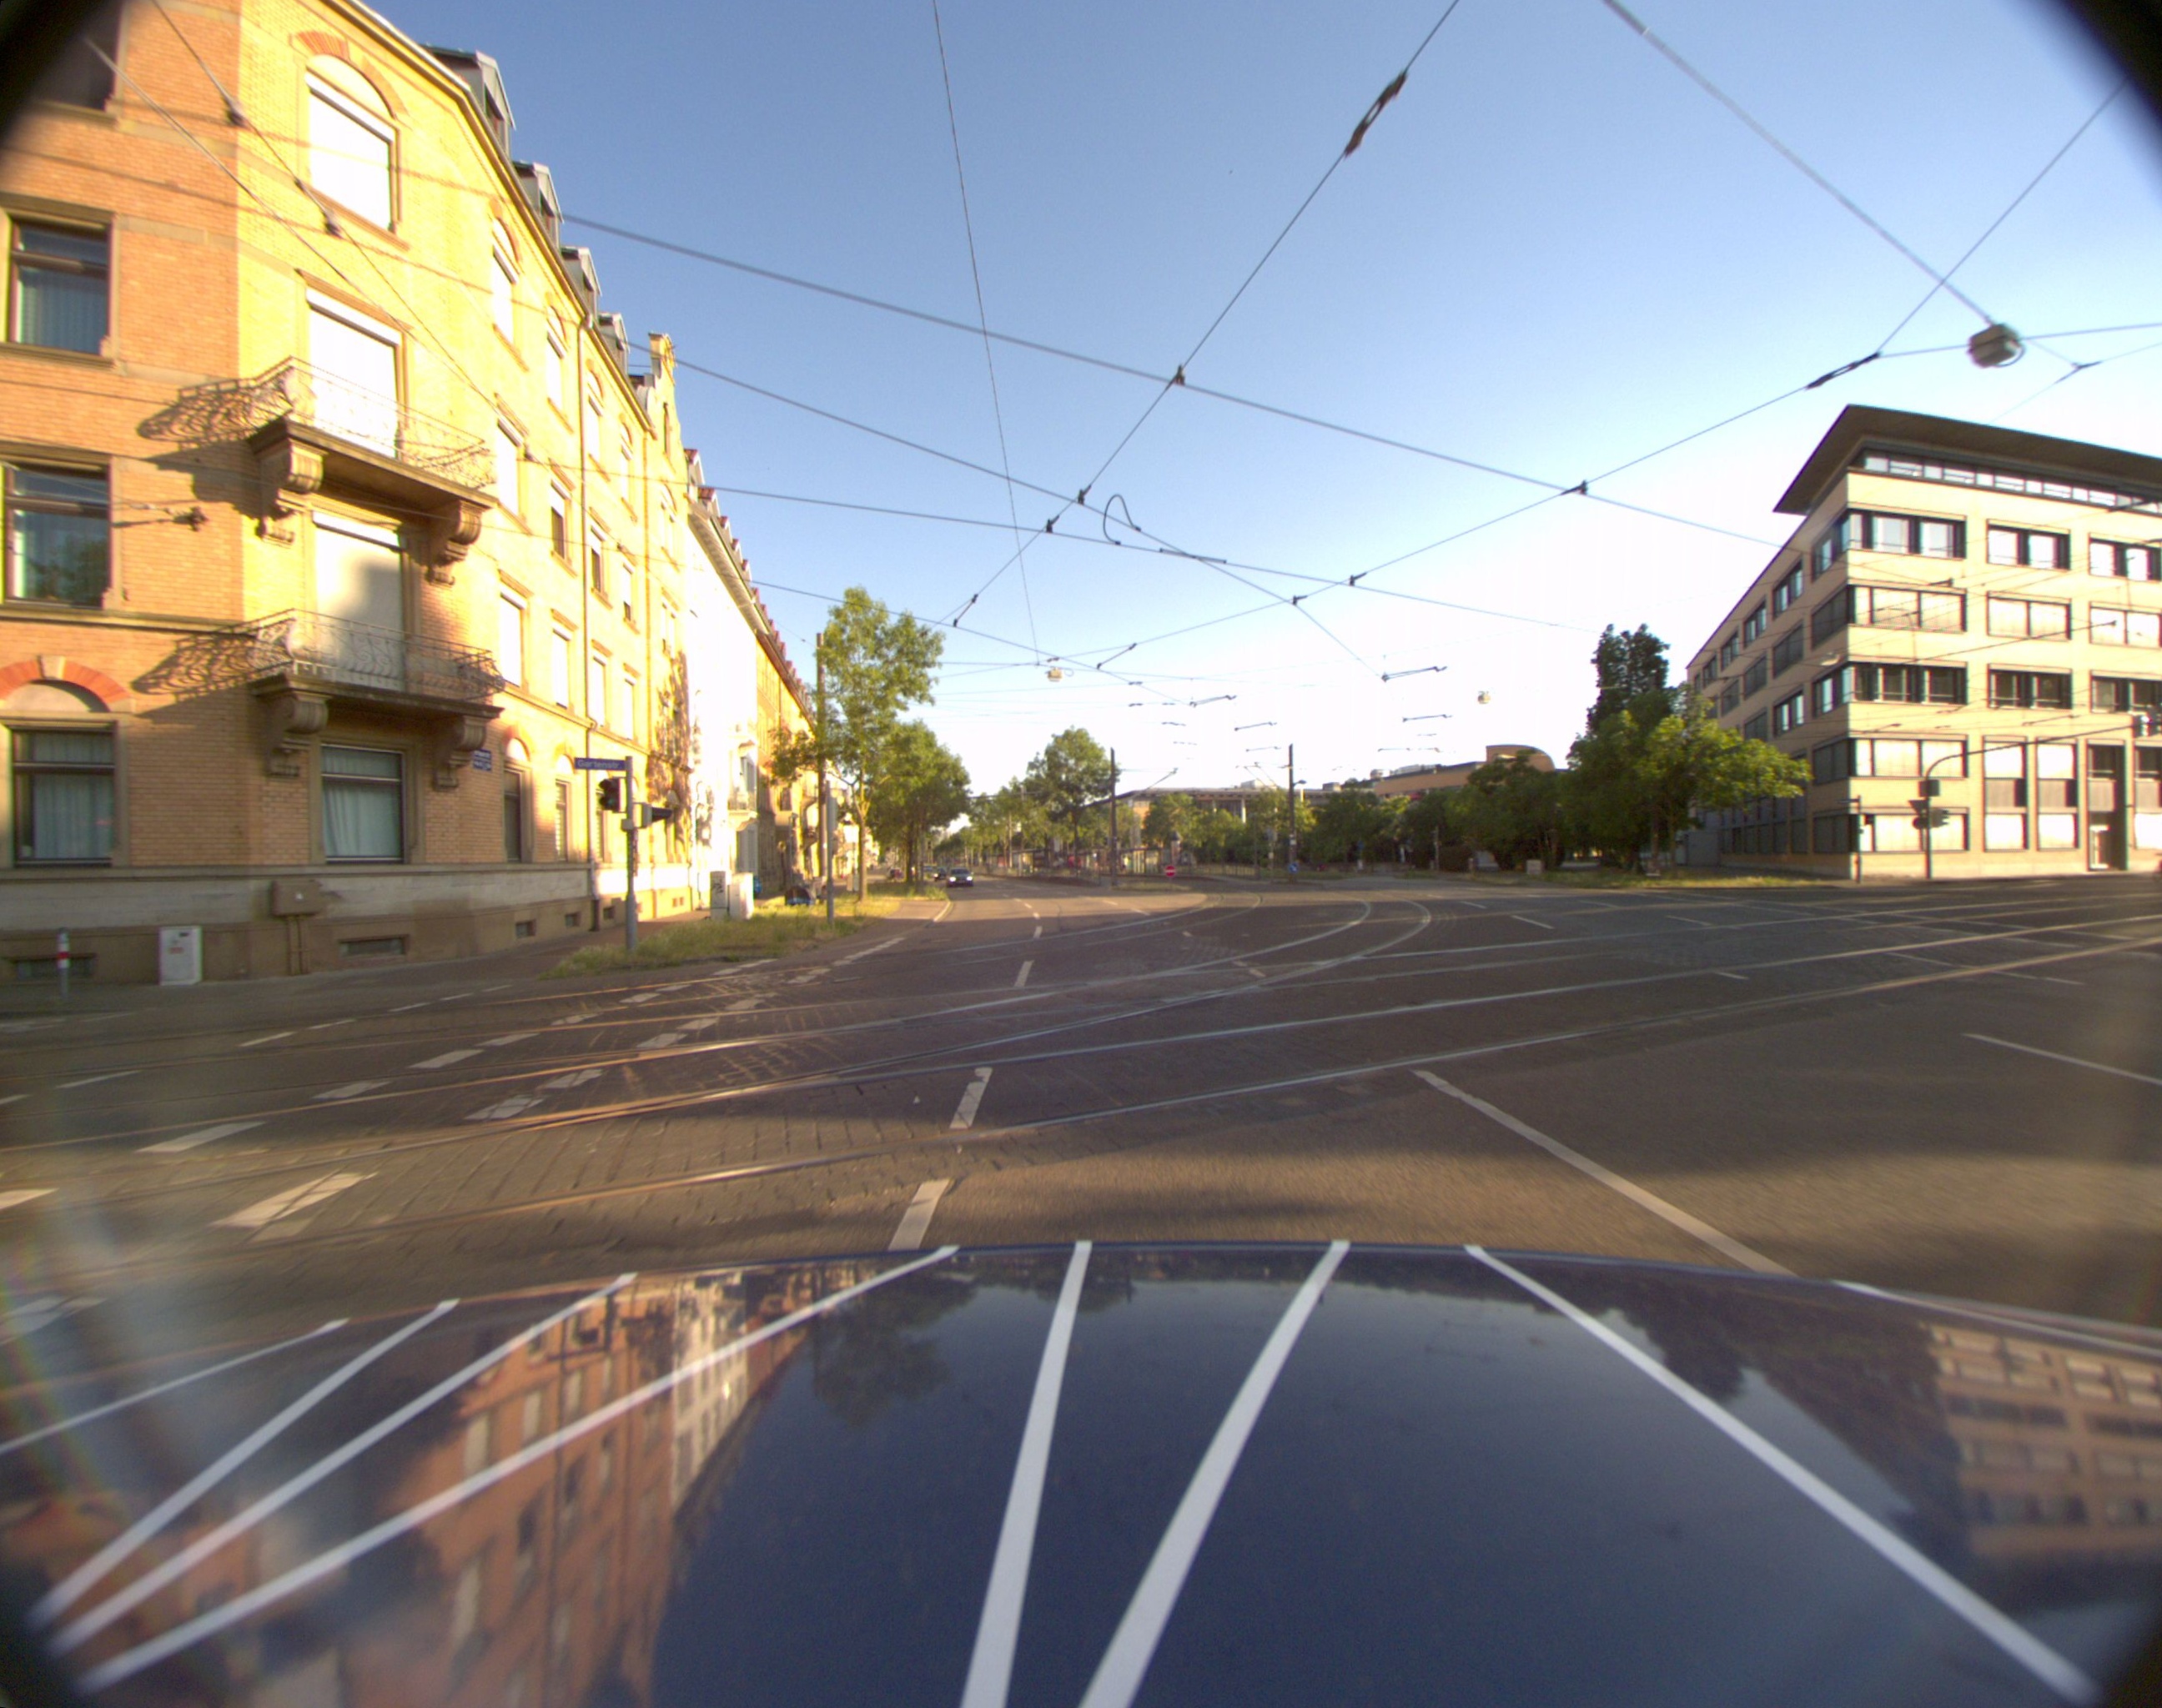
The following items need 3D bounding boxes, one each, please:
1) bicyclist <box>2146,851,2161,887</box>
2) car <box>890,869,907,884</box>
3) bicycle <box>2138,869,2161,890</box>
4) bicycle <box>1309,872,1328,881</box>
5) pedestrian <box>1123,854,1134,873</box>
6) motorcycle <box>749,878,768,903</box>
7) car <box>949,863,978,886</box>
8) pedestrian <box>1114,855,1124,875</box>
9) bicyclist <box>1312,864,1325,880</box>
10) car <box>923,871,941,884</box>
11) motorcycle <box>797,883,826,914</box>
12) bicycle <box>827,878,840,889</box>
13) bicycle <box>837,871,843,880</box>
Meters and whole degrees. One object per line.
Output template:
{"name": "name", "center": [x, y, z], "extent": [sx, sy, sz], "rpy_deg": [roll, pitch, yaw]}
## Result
{"name": "bicyclist", "center": [43.709, 0.596, 30.622], "extent": [0.744, 1.444, 0.667], "rpy_deg": [-1, 0, -13]}
{"name": "car", "center": [-20.293, 2.479, 84.667], "extent": [1.710, 1.440, 4.284], "rpy_deg": [-4, 0, -13]}
{"name": "bicycle", "center": [43.668, 1.020, 30.615], "extent": [1.692, 0.828, 0.657], "rpy_deg": [-1, 0, -13]}
{"name": "bicycle", "center": [22.199, 2.103, 71.050], "extent": [0.777, 0.816, 1.964], "rpy_deg": [-1, 0, -11]}
{"name": "pedestrian", "center": [4.917, 0.999, 78.675], "extent": [0.772, 2.002, 1.126], "rpy_deg": [-1, 0, -11]}
{"name": "motorcycle", "center": [-16.342, 1.833, 38.569], "extent": [0.555, 1.207, 2.070], "rpy_deg": [-3, 0, -15]}
{"name": "car", "center": [-9.095, 1.556, 58.990], "extent": [2.000, 1.655, 3.998], "rpy_deg": [-1, 0, -7]}
{"name": "pedestrian", "center": [3.973, 1.170, 79.349], "extent": [0.772, 2.002, 1.126], "rpy_deg": [-1, 0, -11]}
{"name": "bicyclist", "center": [22.198, 1.702, 71.007], "extent": [0.770, 1.459, 0.827], "rpy_deg": [-1, 0, -11]}
{"name": "car", "center": [-20.664, 3.218, 105.559], "extent": [2.000, 1.655, 3.998], "rpy_deg": [-1, 0, -7]}
{"name": "motorcycle", "center": [-9.926, 1.622, 28.031], "extent": [0.606, 1.038, 1.743], "rpy_deg": [-1, 0, -7]}
{"name": "bicycle", "center": [-21.927, 2.608, 67.231], "extent": [0.875, 0.910, 2.082], "rpy_deg": [0, -1, -12]}
{"name": "bicycle", "center": [-31.085, 2.789, 97.919], "extent": [0.574, 1.067, 1.894], "rpy_deg": [0, -1, -14]}
